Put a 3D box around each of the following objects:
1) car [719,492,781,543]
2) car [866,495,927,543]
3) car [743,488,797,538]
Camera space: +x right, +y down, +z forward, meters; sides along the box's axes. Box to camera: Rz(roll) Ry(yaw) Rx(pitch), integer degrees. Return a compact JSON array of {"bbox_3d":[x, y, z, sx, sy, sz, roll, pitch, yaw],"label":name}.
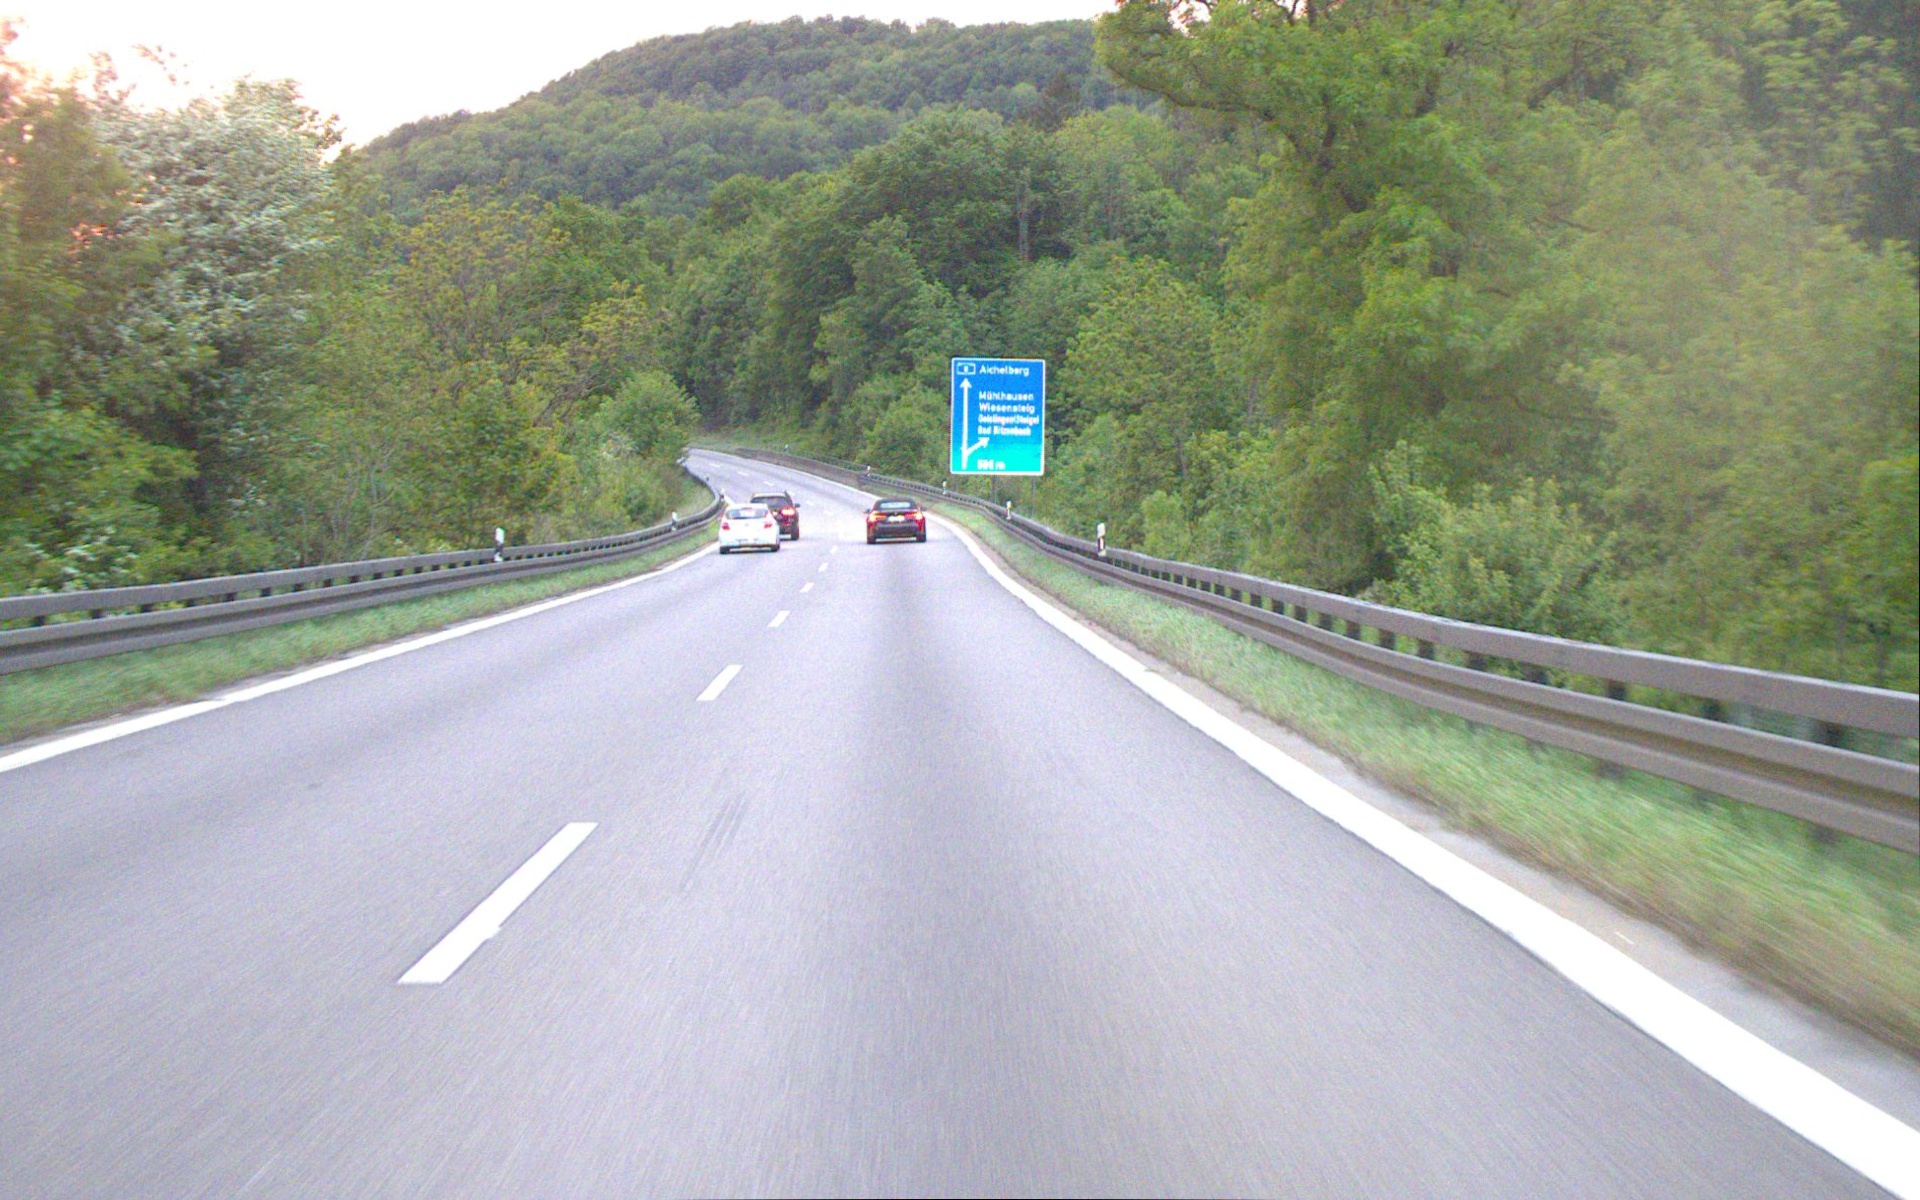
[{"bbox_3d":[-6.367,-2.514,104.491,1.718,1.496,4.001,-1,2,-1],"label":"car"},{"bbox_3d":[-2.041,-2.618,110.009,1.878,1.461,4.001,-1,2,-1],"label":"car"},{"bbox_3d":[-6.478,-2.992,117.495,1.718,1.629,4.001,-1,2,-1],"label":"car"}]
